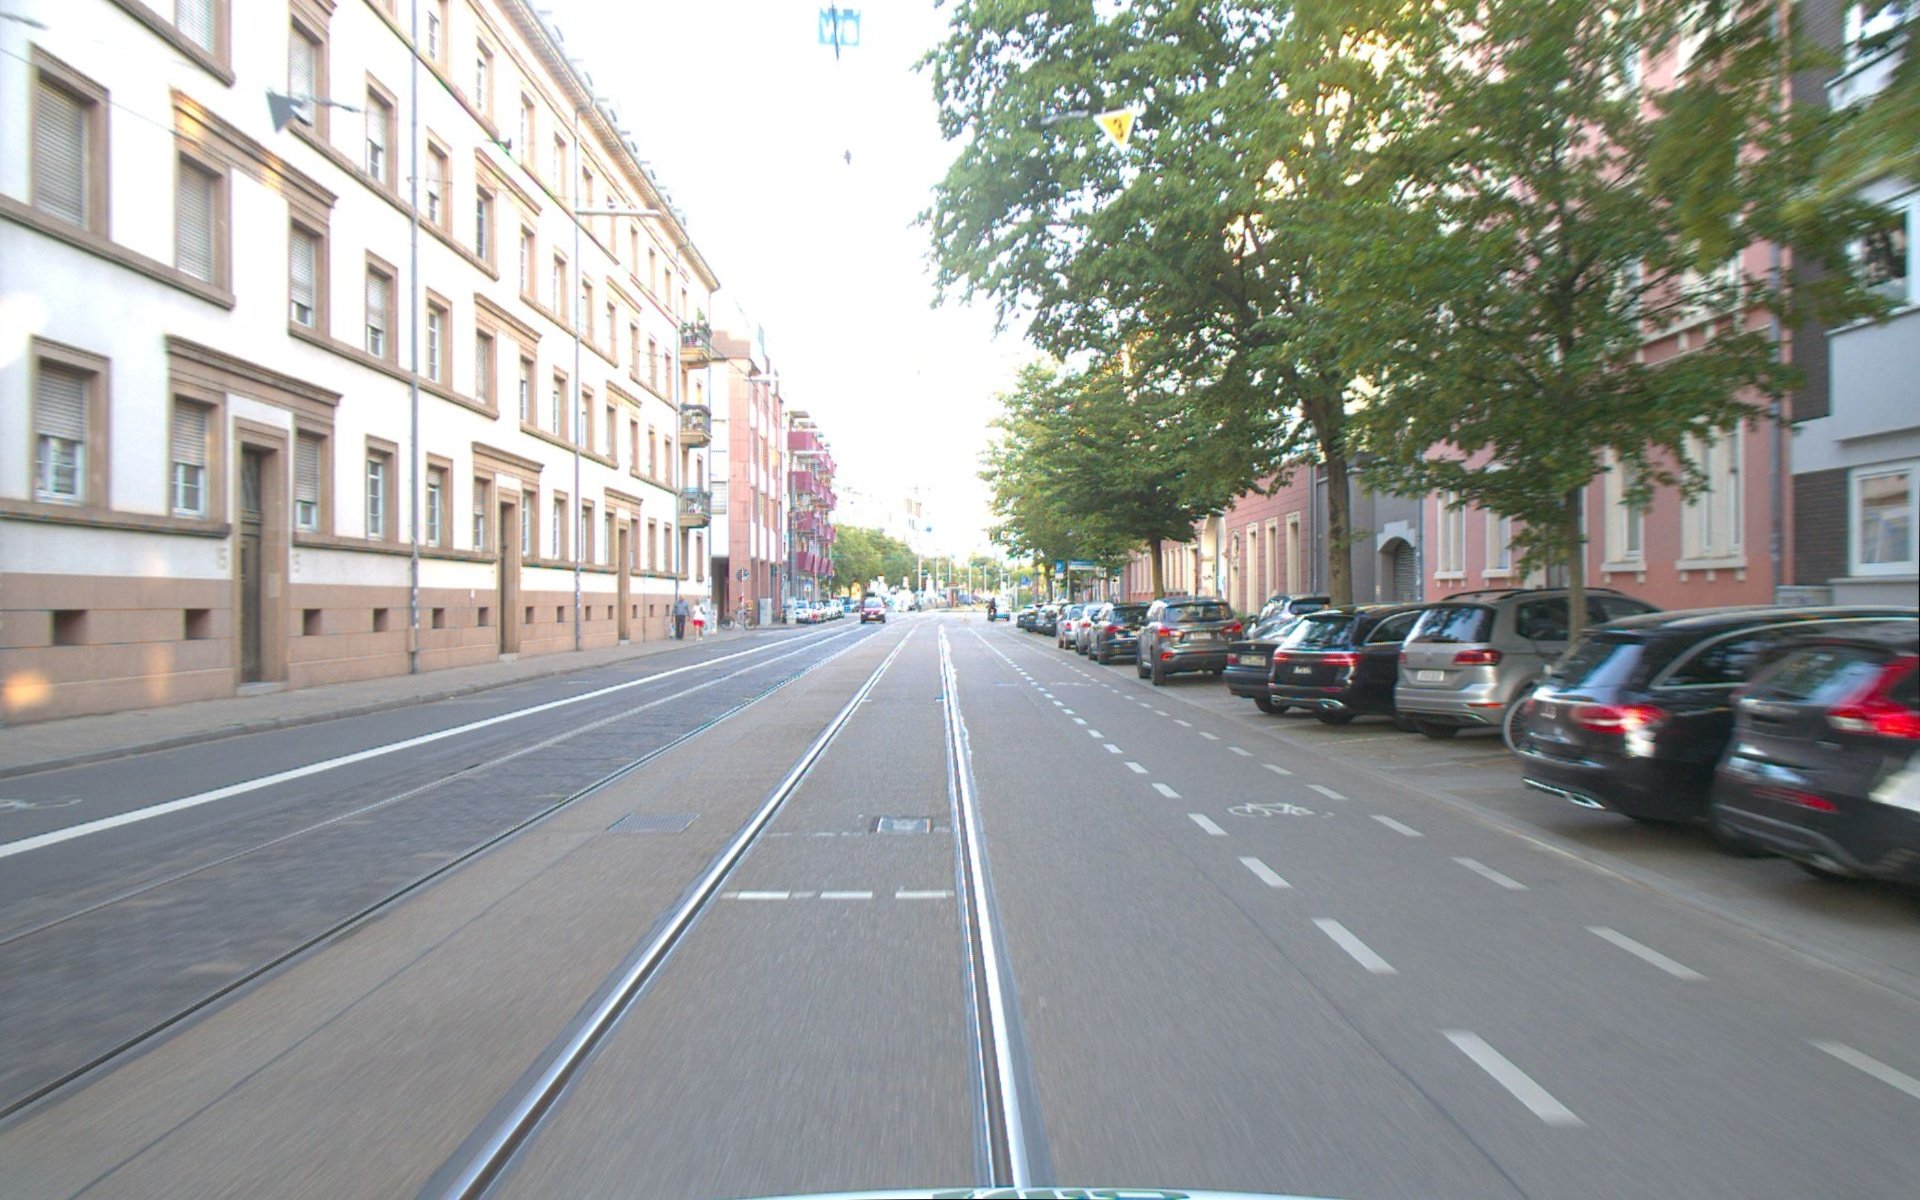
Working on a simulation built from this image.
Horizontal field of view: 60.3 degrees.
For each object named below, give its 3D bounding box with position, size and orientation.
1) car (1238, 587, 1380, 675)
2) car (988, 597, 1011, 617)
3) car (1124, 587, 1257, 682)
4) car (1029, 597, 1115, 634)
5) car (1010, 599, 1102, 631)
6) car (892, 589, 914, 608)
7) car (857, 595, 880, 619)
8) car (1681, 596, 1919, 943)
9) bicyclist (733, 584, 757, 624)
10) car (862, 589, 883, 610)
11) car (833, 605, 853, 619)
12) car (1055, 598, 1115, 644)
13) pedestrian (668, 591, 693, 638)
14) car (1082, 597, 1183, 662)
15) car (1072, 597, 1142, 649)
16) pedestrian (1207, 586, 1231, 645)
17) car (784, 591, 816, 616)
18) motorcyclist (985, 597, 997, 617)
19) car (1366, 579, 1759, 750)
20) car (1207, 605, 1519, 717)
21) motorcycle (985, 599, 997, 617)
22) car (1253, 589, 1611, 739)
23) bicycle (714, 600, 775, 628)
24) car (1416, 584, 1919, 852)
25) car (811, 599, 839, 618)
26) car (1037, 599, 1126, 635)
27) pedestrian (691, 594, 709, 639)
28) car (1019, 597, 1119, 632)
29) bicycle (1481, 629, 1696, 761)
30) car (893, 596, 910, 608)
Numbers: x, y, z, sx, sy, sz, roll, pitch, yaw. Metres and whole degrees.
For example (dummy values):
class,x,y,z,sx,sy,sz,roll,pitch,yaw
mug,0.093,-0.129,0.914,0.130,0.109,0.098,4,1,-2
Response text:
class,x,y,z,sx,sy,sz,roll,pitch,yaw
car,6.766,0.571,32.483,1.841,1.612,4.019,-1,0,-1
car,3.087,0.529,129.666,1.681,1.583,4.204,1,0,1
car,4.417,0.629,32.339,1.842,1.646,4.261,-3,0,-1
car,5.071,0.696,74.985,3.512,1.543,1.729,-1,0,-26
car,4.998,0.764,85.934,4.547,1.482,1.697,-2,0,-26
car,-7.488,-0.208,217.098,2.409,2.526,5.810,0,0,3
car,-6.161,0.455,111.354,1.528,1.585,3.752,-2,0,-3
car,5.900,0.716,8.187,3.906,1.489,1.719,-1,0,-1
bicyclist,-11.125,0.201,85.515,1.192,2.049,0.945,0,0,-9
car,-13.381,-0.035,253.723,2.154,3.207,6.147,0,0,7
car,-14.292,1.439,202.102,1.647,1.729,4.242,0,0,8
car,4.087,0.686,54.547,1.586,1.405,3.775,-2,0,-1
pedestrian,-10.428,0.547,61.703,0.779,1.731,0.981,0,0,-3
car,4.283,0.708,41.770,1.953,1.515,5.035,-1,0,0
car,4.310,0.650,49.056,1.743,1.405,4.691,-2,0,1
pedestrian,8.272,0.495,52.912,0.666,1.848,0.600,0,0,0
car,-10.486,0.238,108.388,1.682,1.583,4.203,1,0,0
motorcyclist,2.283,0.508,121.285,0.811,1.499,1.207,0,0,2
car,6.561,0.623,18.017,3.932,1.621,1.708,-2,1,-22
car,5.600,0.793,22.905,4.198,1.412,1.607,0,0,-27
motorcycle,2.275,0.577,121.029,0.811,1.261,2.492,0,0,3
car,5.683,0.708,19.971,3.901,1.580,1.711,-1,1,-19
bicycle,-11.149,0.709,85.494,3.112,1.378,0.955,-1,0,-10
car,5.353,0.673,10.714,4.292,1.489,1.718,-1,0,-5
car,-10.509,0.647,128.948,1.656,1.438,4.677,2,0,1
car,5.303,0.729,72.122,3.512,1.454,1.655,-1,0,-26
pedestrian,-9.706,0.613,61.809,0.579,1.638,0.811,0,0,-3
car,5.252,0.702,79.976,4.386,1.543,2.048,-1,0,-24
bicycle,5.948,0.882,15.688,1.762,1.164,0.730,-1,0,-9
car,-7.494,0.273,211.368,1.647,1.464,4.129,0,0,6
